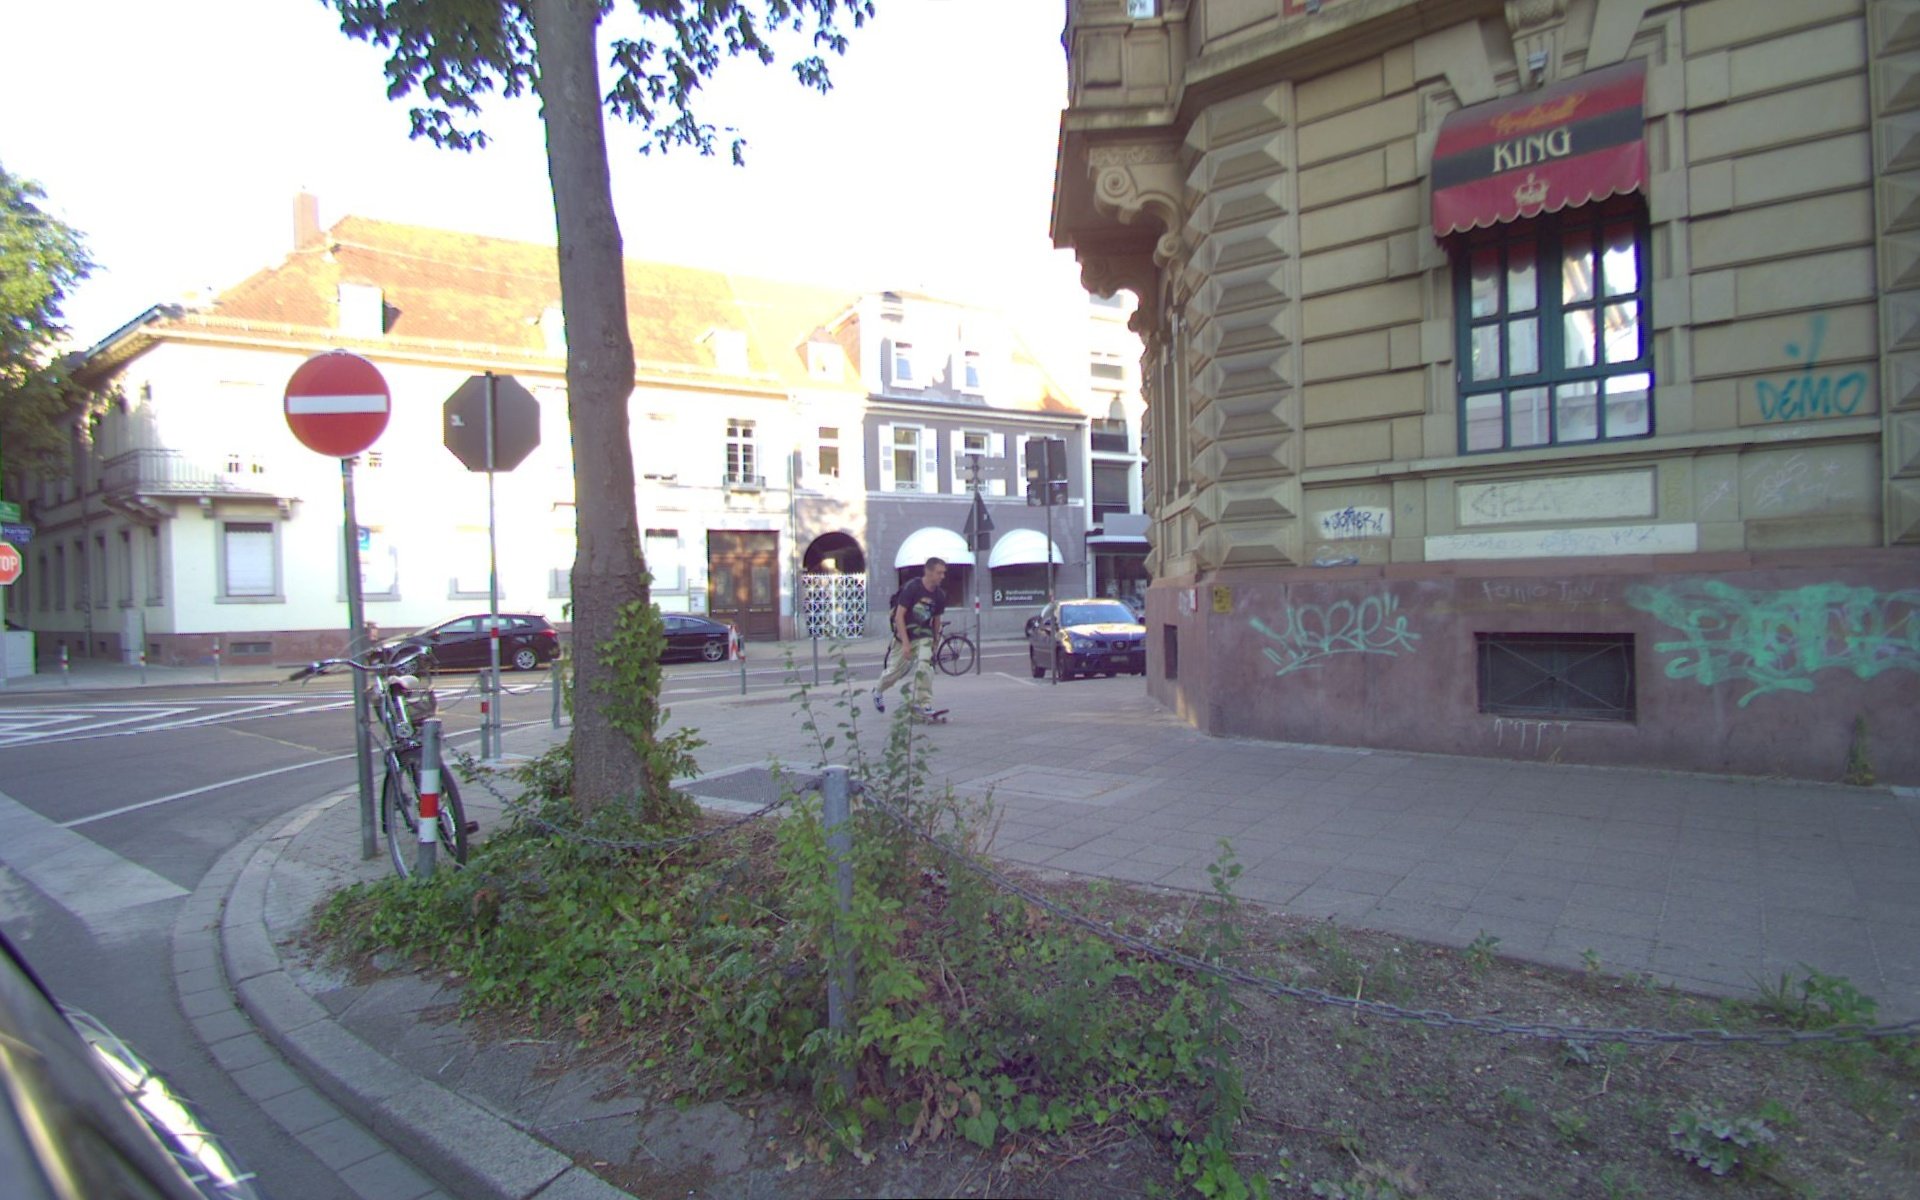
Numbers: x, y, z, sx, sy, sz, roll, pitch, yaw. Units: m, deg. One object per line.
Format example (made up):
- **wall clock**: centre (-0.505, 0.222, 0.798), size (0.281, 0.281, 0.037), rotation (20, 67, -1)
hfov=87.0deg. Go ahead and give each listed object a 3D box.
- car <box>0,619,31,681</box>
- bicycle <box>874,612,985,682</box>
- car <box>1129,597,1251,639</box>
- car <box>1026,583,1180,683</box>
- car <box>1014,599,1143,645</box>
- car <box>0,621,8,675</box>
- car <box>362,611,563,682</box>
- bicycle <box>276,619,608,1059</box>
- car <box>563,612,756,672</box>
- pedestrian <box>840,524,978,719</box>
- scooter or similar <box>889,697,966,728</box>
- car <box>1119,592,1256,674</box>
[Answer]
- **car**: centre (-27.049, 1.360, 26.334), size (1.825, 1.627, 3.951), rotation (-2, -1, 36)
- **bicycle**: centre (-0.537, 0.826, 17.868), size (1.772, 1.134, 0.730), rotation (-2, -3, -21)
- **car**: centre (8.593, 0.645, 37.733), size (4.424, 1.398, 1.753), rotation (-1, -1, -30)
- **car**: centre (2.322, 0.619, 17.467), size (1.714, 1.472, 3.867), rotation (-2, -3, -5)
- **car**: centre (4.100, 0.732, 34.933), size (4.176, 1.458, 1.753), rotation (-1, -1, -29)
- **car**: centre (-30.666, 1.479, 29.543), size (1.720, 1.627, 3.951), rotation (-2, 0, 36)
- **car**: centre (-12.400, 1.117, 25.332), size (4.355, 1.553, 1.813), rotation (-1, -1, -29)
- **bicycle**: centre (-2.319, 0.737, 4.272), size (0.832, 1.277, 2.578), rotation (0, -1, -37)
- **car**: centre (-8.201, 1.104, 27.691), size (4.774, 1.405, 1.784), rotation (-1, -1, -28)
- **pedestrian**: centre (-0.529, 0.204, 9.927), size (0.836, 1.752, 1.271), rotation (-3, -1, -26)
- **scooter or similar**: centre (-0.324, 1.070, 9.698), size (0.411, 0.208, 0.885), rotation (-2, -1, -26)
- **car**: centre (4.750, 0.710, 21.840), size (1.743, 1.523, 4.630), rotation (-2, -2, -2)
